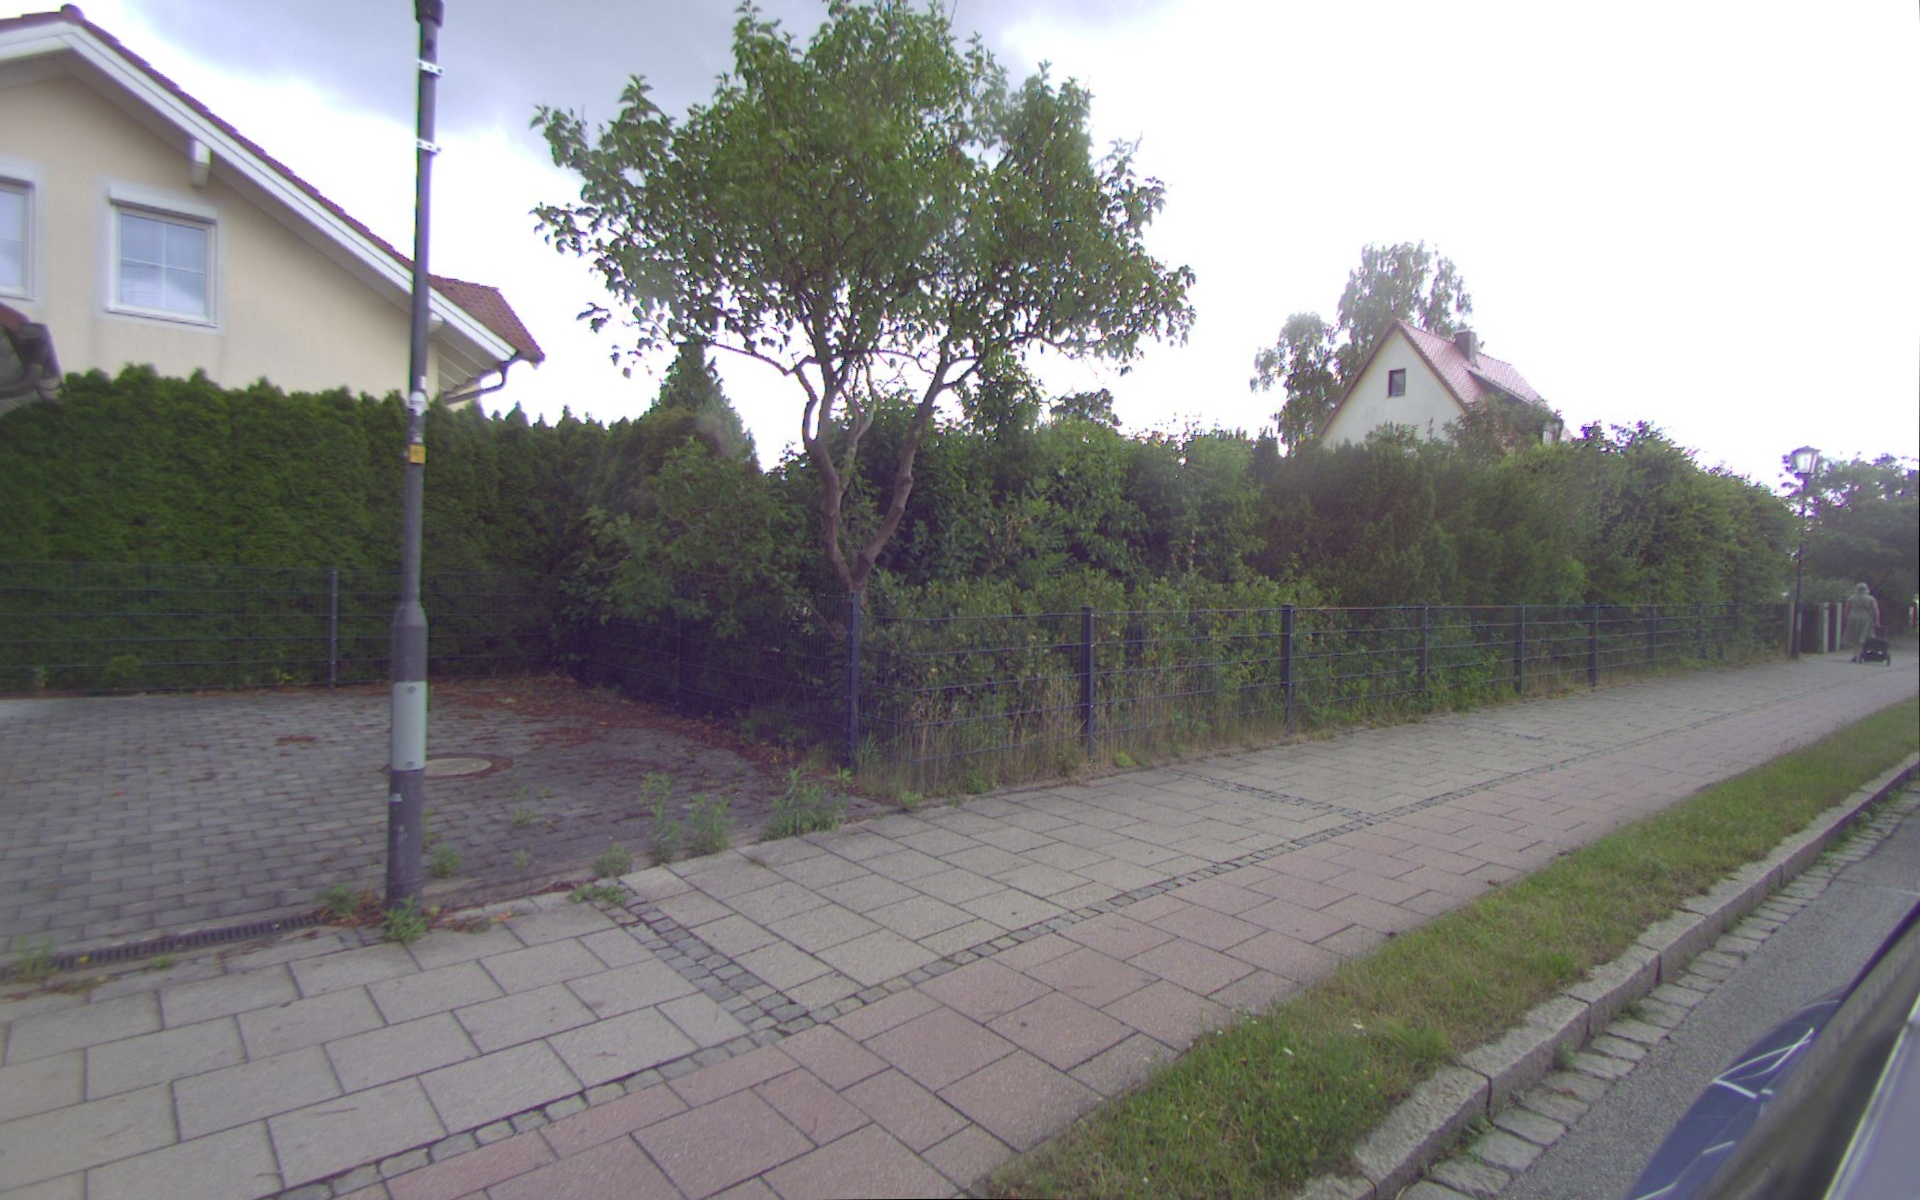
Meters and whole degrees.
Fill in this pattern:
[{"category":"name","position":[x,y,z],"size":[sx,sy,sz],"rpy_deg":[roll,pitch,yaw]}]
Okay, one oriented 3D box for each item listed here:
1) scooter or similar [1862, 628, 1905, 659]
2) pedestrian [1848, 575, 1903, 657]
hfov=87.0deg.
[{"category":"scooter or similar","position":[18.409,0.853,20.173],"size":[0.616,0.563,0.731],"rpy_deg":[2,1,43]},{"category":"pedestrian","position":[18.798,0.318,20.778],"size":[0.790,1.622,0.661],"rpy_deg":[2,2,43]}]
